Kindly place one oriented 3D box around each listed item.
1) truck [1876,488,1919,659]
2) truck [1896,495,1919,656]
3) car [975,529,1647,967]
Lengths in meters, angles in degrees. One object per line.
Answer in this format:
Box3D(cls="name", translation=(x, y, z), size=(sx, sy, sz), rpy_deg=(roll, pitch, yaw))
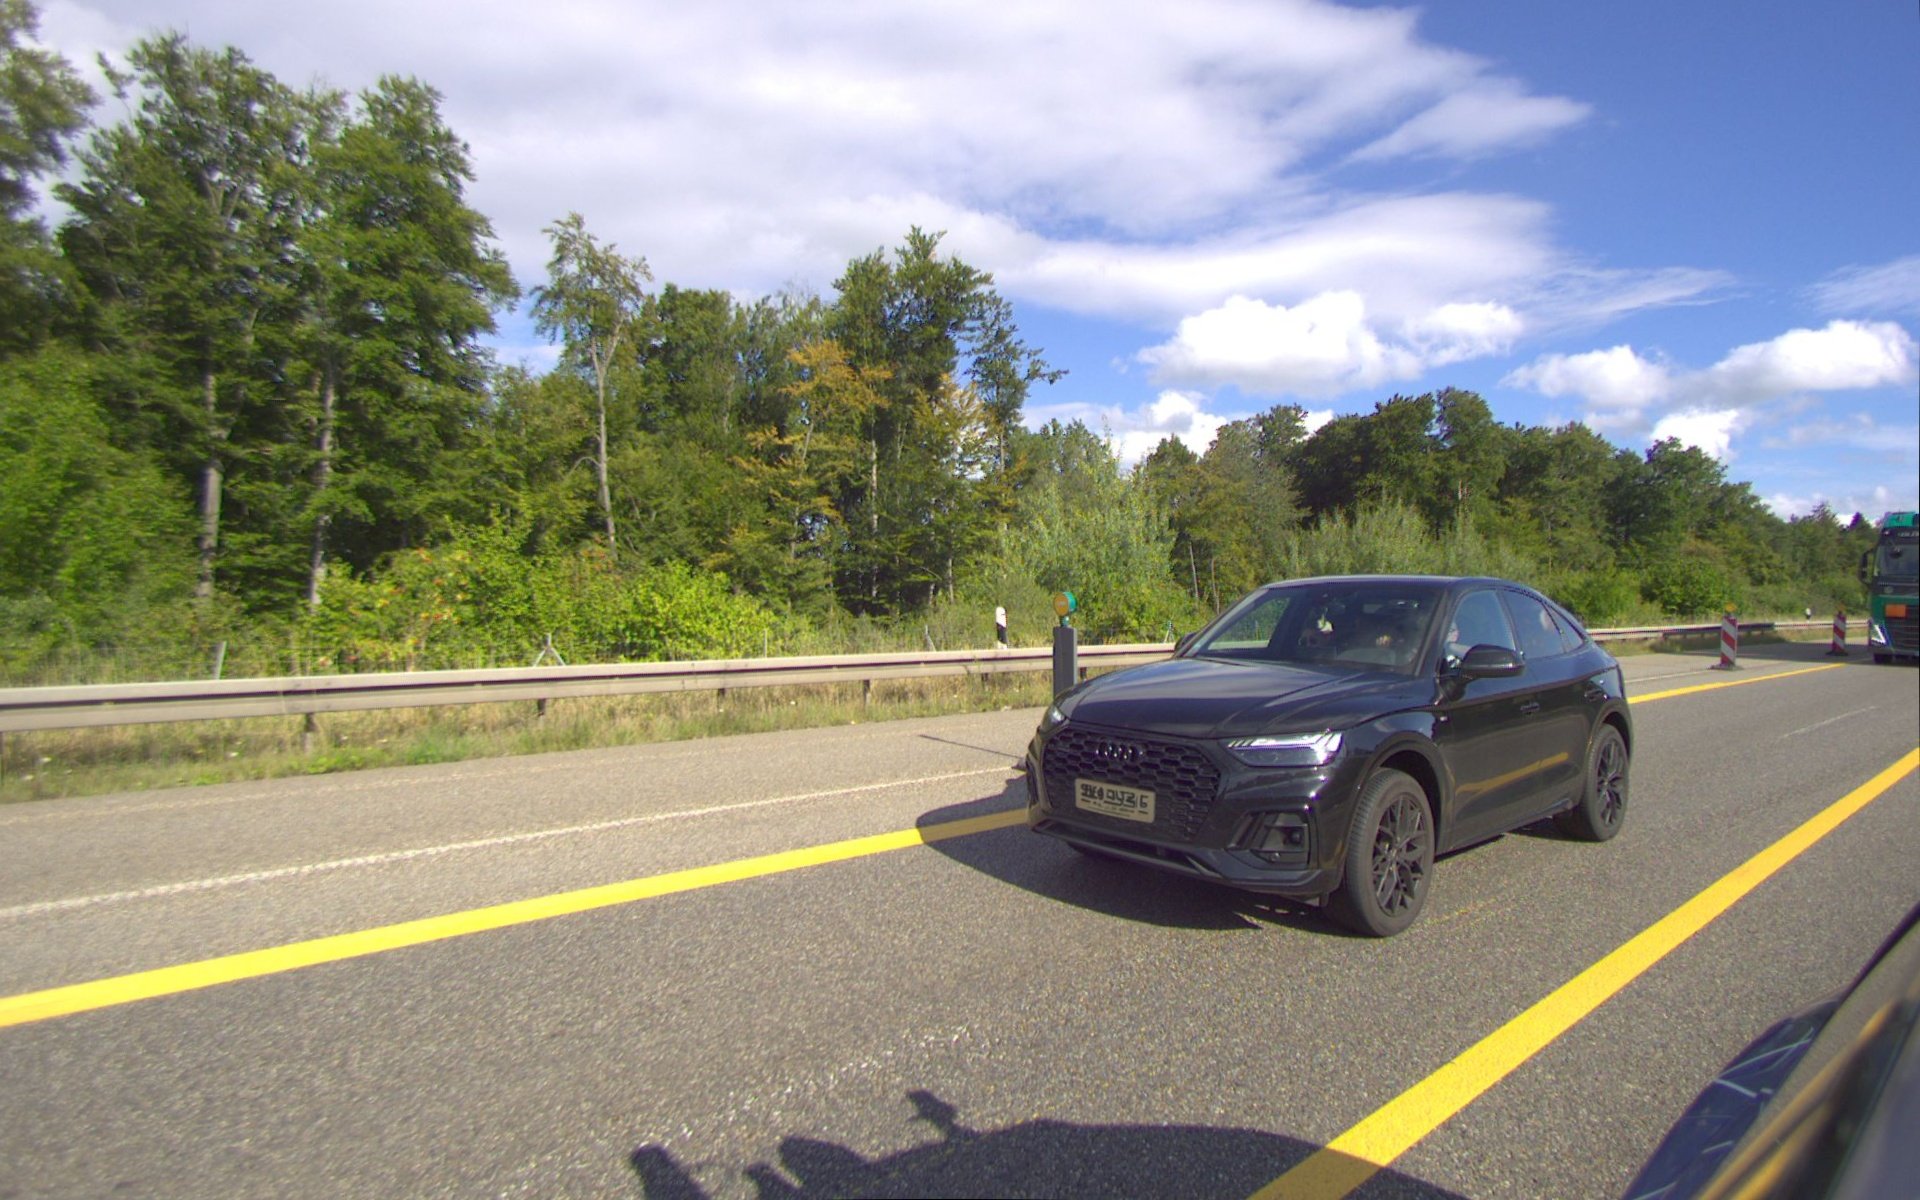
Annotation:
Box3D(cls="truck", translation=(26.121, -0.663, 26.280), size=(6.734, 4.151, 2.527), rpy_deg=(0, 0, -40))
Box3D(cls="truck", translation=(30.849, -0.595, 30.189), size=(13.955, 4.196, 2.469), rpy_deg=(1, -1, -40))
Box3D(cls="car", translation=(2.244, 0.533, 5.812), size=(4.218, 1.623, 1.781), rpy_deg=(0, 0, -41))
